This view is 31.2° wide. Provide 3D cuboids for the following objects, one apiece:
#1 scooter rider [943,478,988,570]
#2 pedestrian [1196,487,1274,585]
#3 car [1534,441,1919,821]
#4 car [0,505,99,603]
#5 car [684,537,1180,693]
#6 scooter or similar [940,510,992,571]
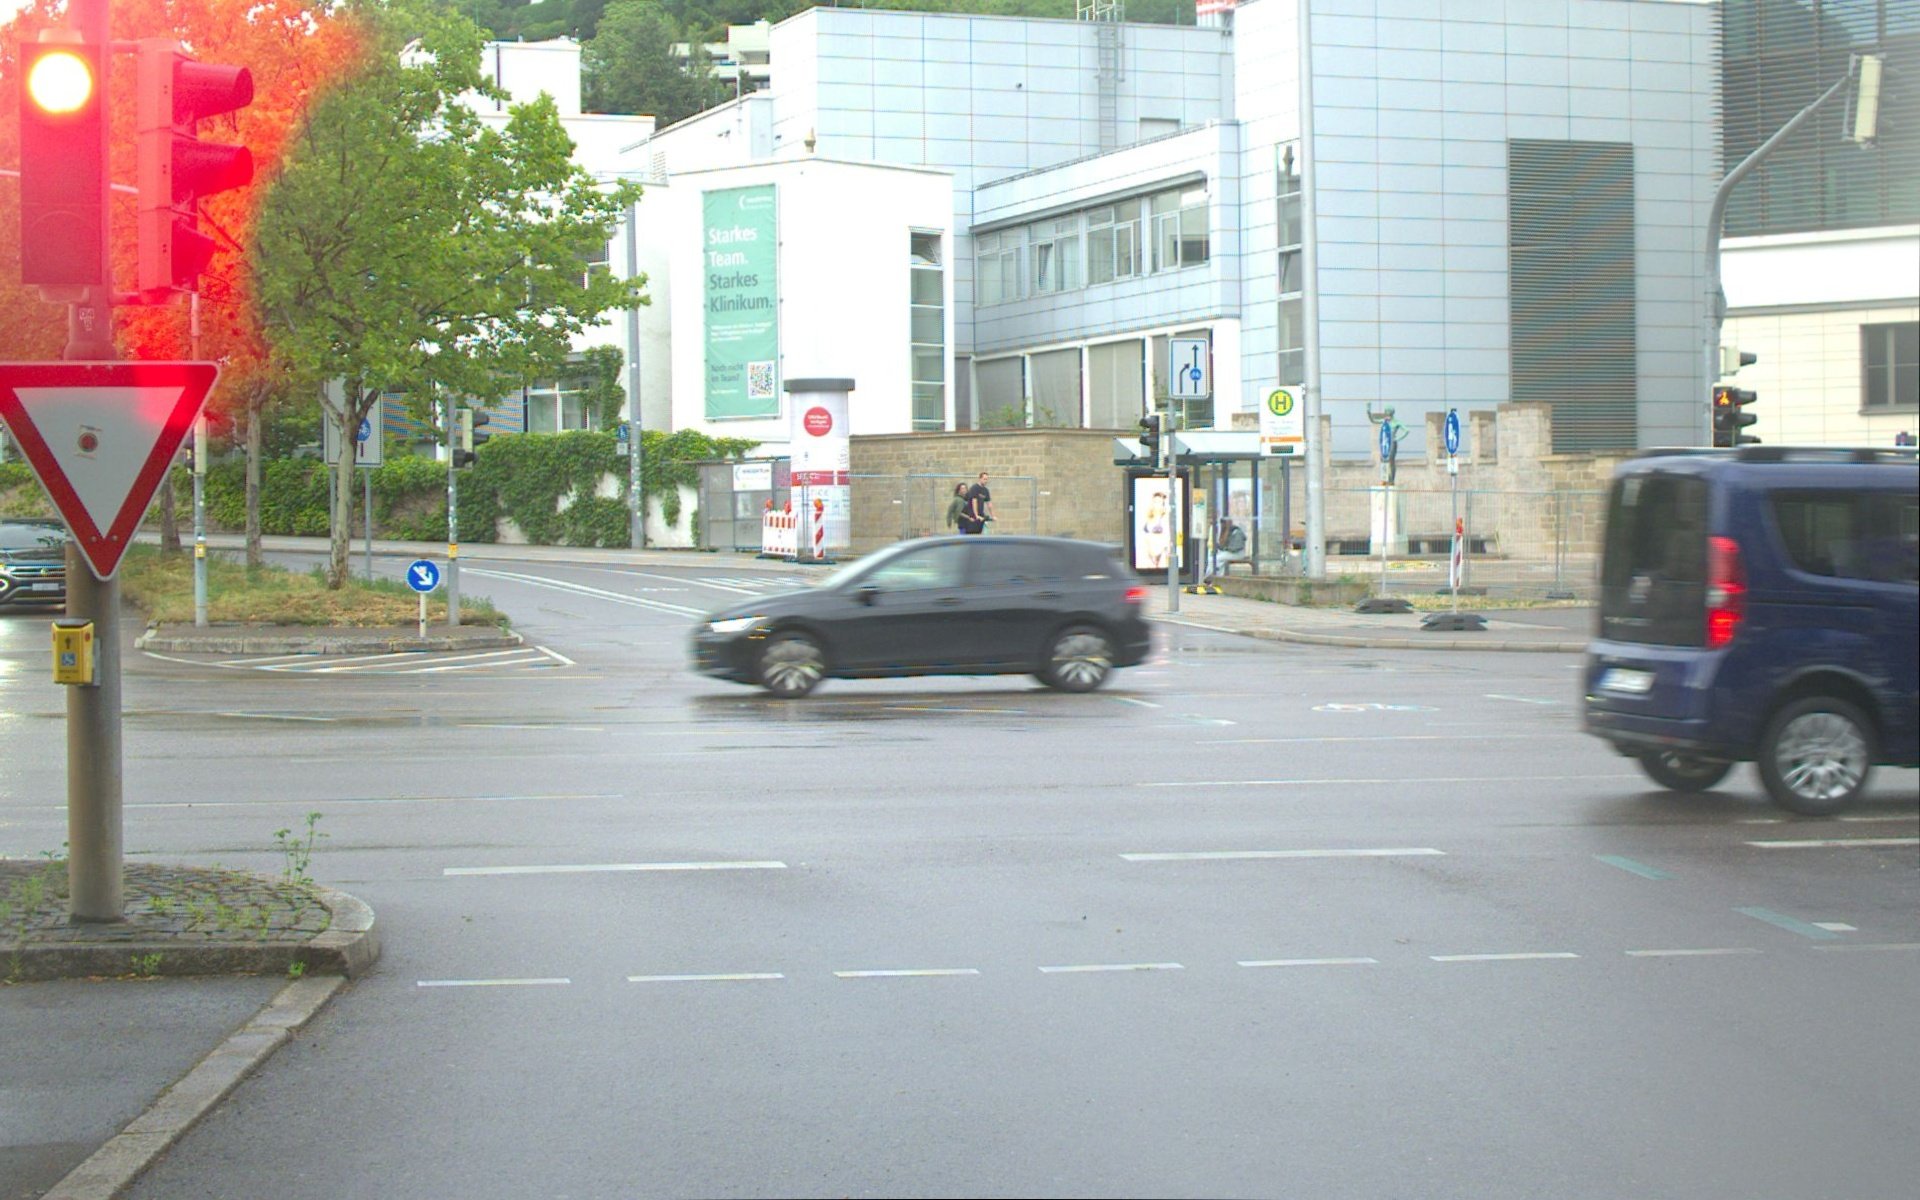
[{"bbox_3d":[0.112,-1.555,70.683,0.723,1.877,0.632,1,0,-20],"label":"scooter rider"},{"bbox_3d":[4.925,-1.133,61.652,1.257,1.713,1.016,1,0,-2],"label":"pedestrian"},{"bbox_3d":[5.466,0.114,18.559,4.294,1.901,1.798,0,2,-13],"label":"car"},{"bbox_3d":[-15.654,-0.801,57.720,1.788,1.579,4.001,-1,2,-22],"label":"car"},{"bbox_3d":[-0.312,0.112,31.775,4.372,1.373,2.001,0,1,-7],"label":"car"},{"bbox_3d":[0.116,-1.225,70.719,0.591,1.234,1.314,1,0,-22],"label":"scooter or similar"}]
